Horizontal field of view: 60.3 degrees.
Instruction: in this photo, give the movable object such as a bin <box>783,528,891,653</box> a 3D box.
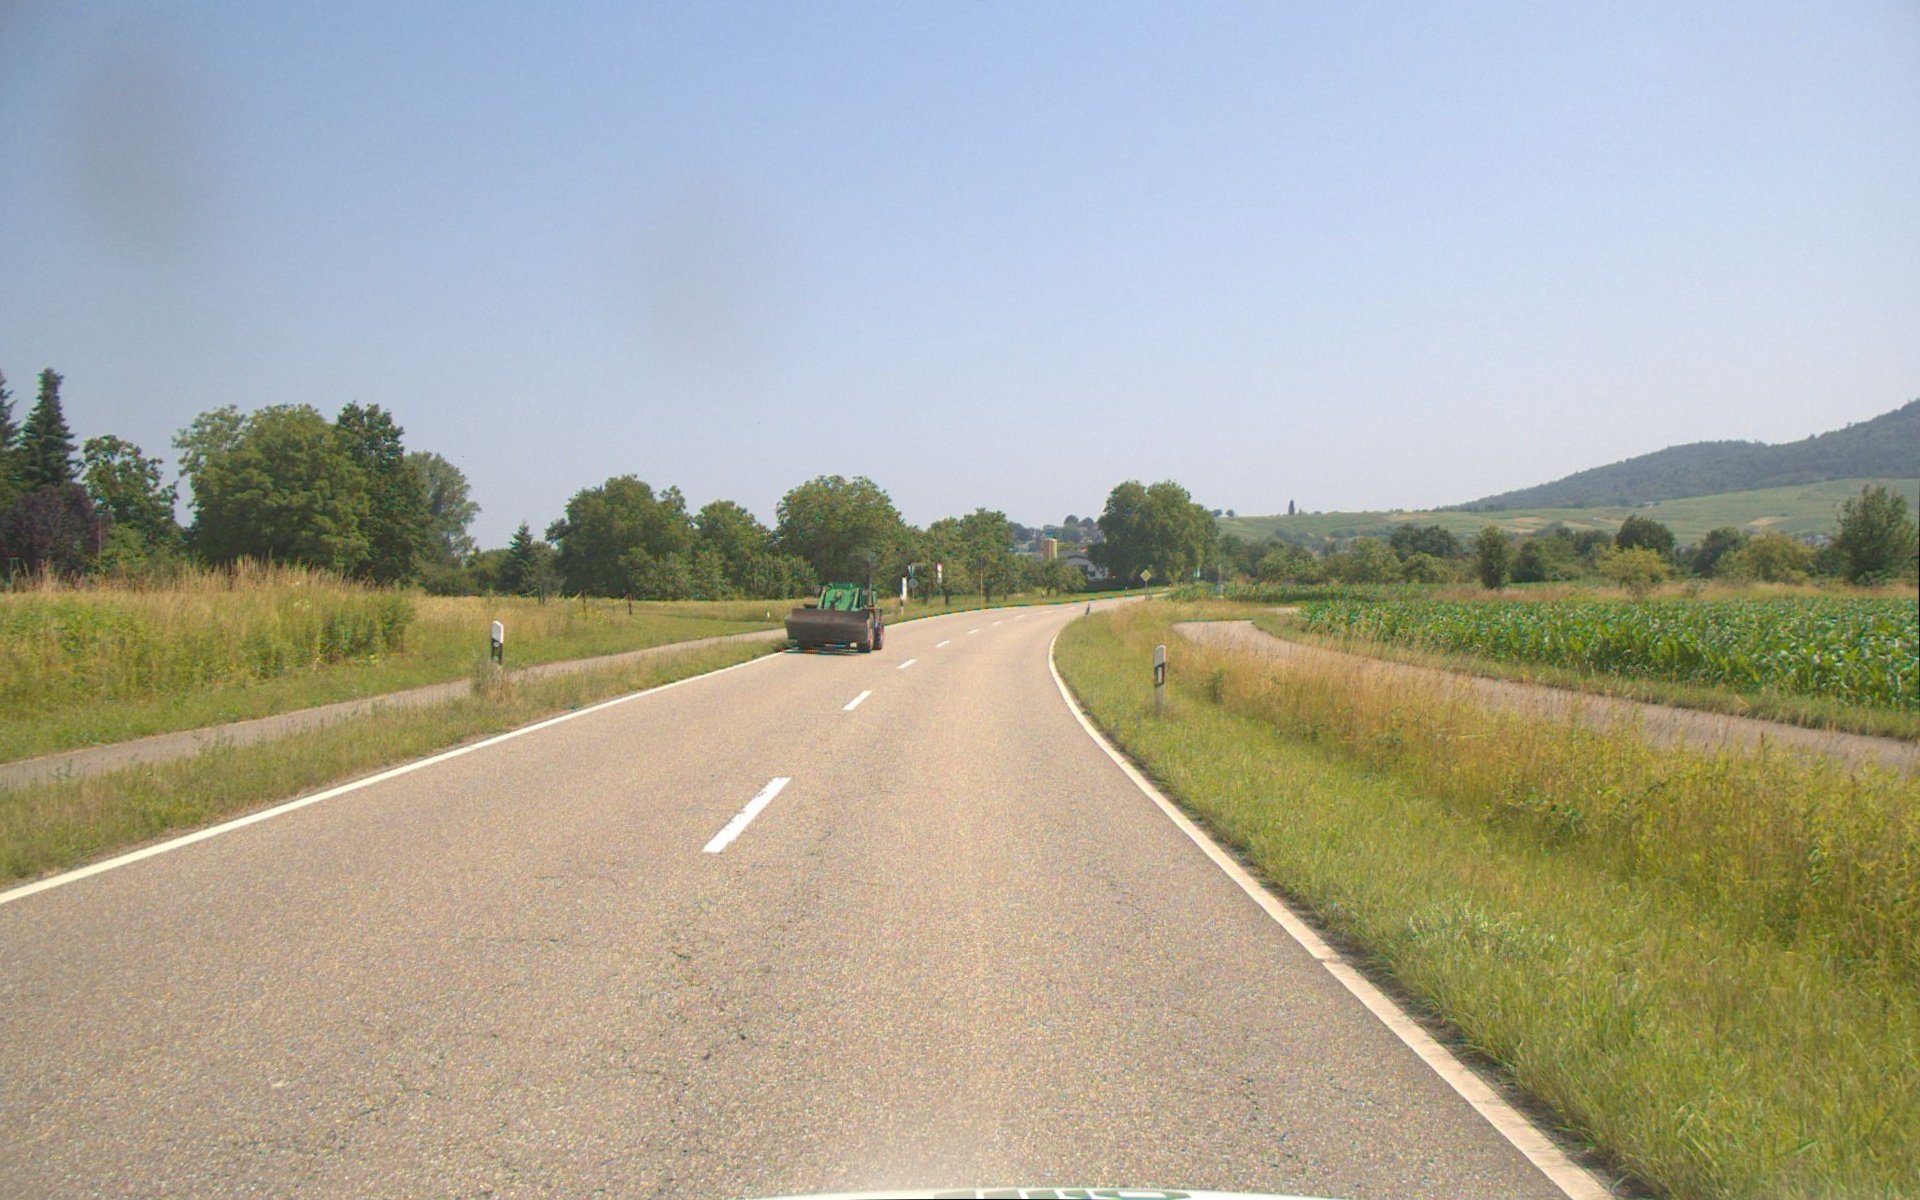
[{"bbox_3d":[-2.941,-0.249,40.672,1.959,2.803,5.232,2,0,2],"label":"movable object such as a bin"}]
